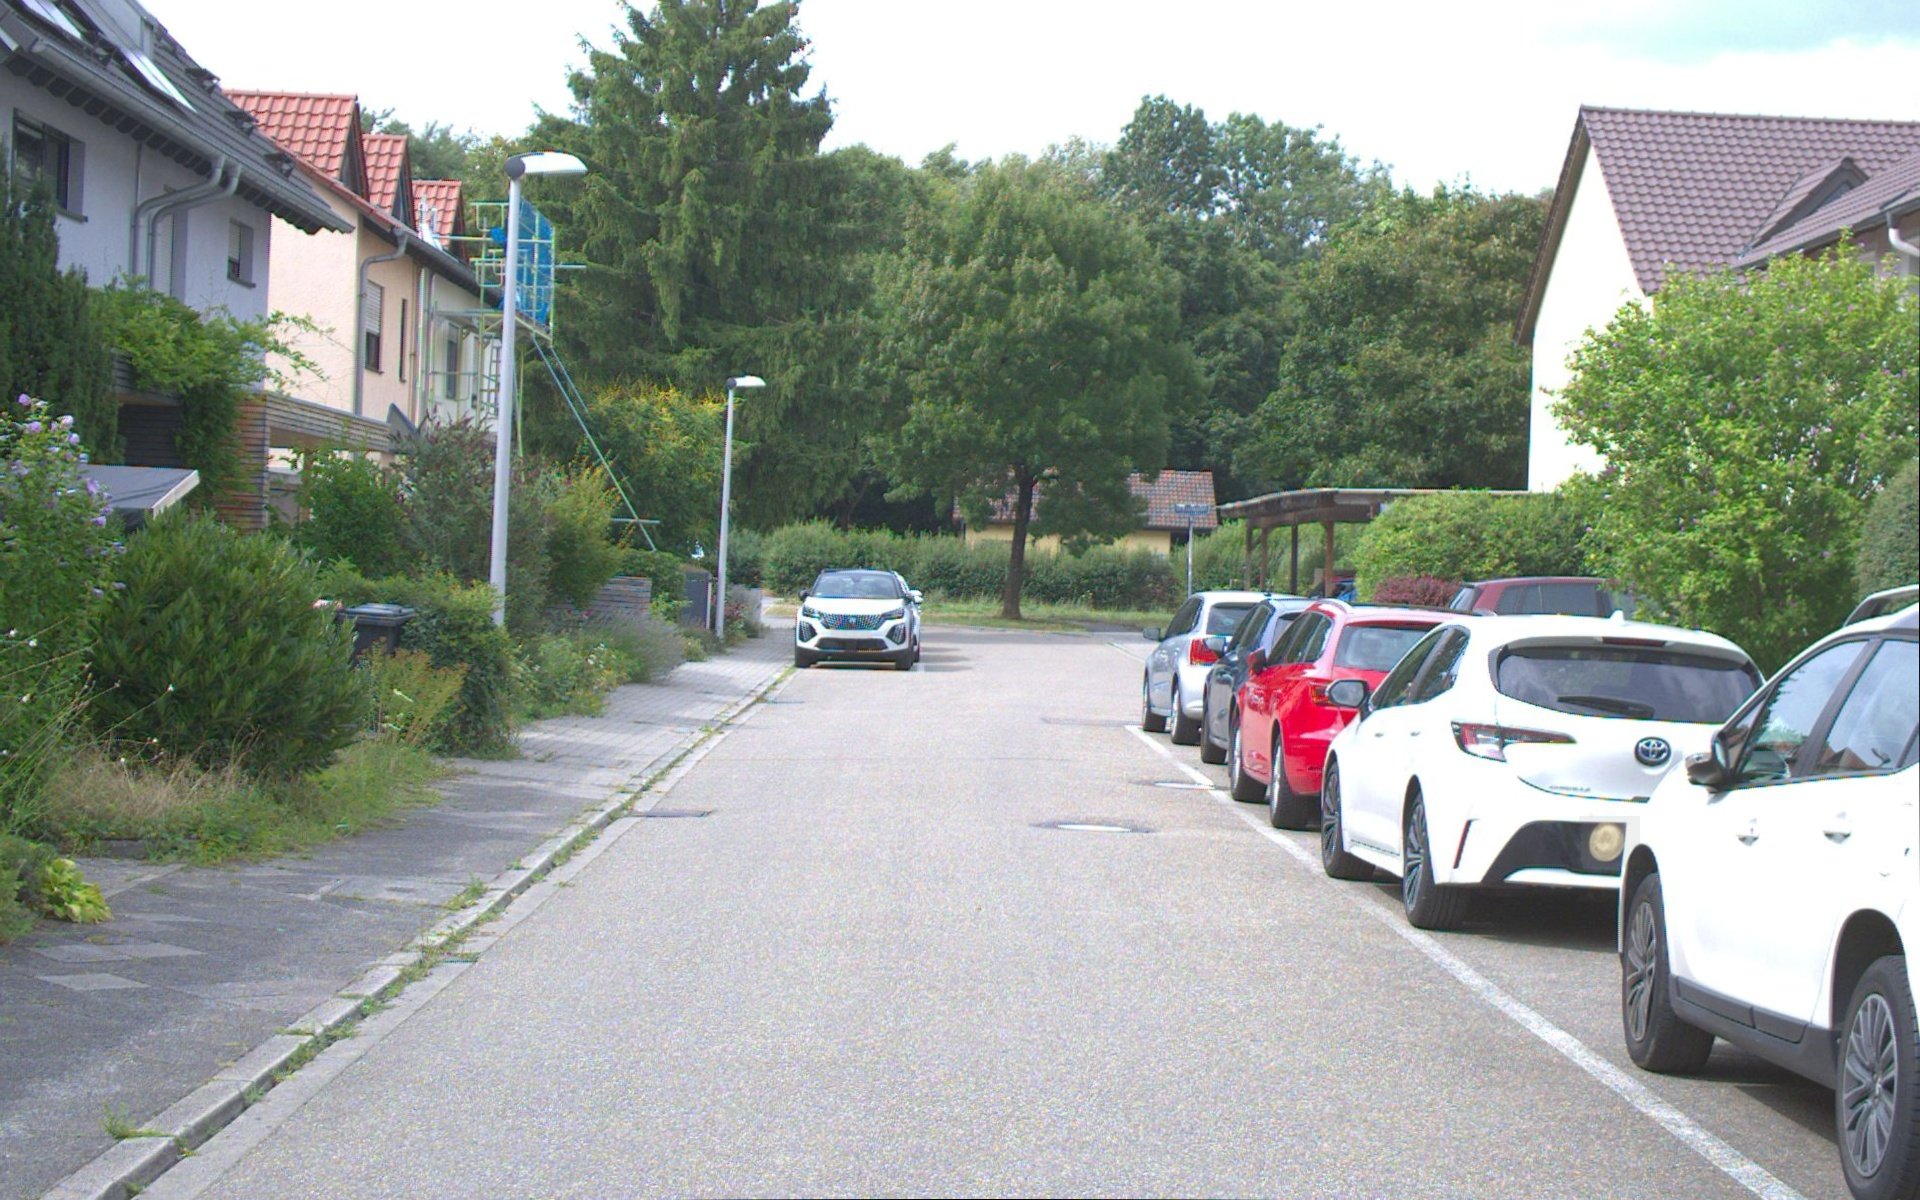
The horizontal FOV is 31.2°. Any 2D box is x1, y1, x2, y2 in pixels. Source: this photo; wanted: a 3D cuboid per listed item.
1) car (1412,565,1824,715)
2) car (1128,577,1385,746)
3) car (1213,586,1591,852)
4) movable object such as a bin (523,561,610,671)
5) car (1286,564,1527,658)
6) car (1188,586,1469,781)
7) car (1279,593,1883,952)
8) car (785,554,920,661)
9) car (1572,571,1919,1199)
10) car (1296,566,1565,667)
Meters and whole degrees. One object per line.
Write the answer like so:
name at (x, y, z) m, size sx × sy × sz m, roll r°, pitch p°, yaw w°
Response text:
car at (7.398, 0.433, 38.971) m, size 4.270 × 1.555 × 1.935 m, roll 1°, pitch 1°, yaw 0°
car at (2.784, 0.542, 33.158) m, size 1.864 × 1.412 × 4.253 m, roll 2°, pitch 1°, yaw -3°
car at (2.800, 0.697, 22.826) m, size 1.773 × 1.431 × 4.826 m, roll 4°, pitch 1°, yaw 0°
movable object such as a bin at (-4.829, 0.189, 42.246) m, size 0.949 × 1.307 × 1.001 m, roll 1°, pitch 1°, yaw -1°
car at (7.944, 0.181, 61.340) m, size 3.956 × 1.535 × 1.839 m, roll 1°, pitch 1°, yaw -3°
car at (2.878, 0.613, 27.660) m, size 1.773 × 1.351 × 4.265 m, roll 2°, pitch 1°, yaw 0°
car at (2.837, 0.725, 16.810) m, size 1.838 × 1.408 × 4.637 m, roll 1°, pitch 1°, yaw -3°
car at (-1.638, 0.081, 54.059) m, size 1.934 × 1.551 × 4.634 m, roll 2°, pitch 1°, yaw 0°
car at (2.997, 0.753, 9.566) m, size 1.713 × 1.538 × 3.974 m, roll 4°, pitch 1°, yaw -1°
car at (7.682, 0.256, 56.418) m, size 4.045 × 1.517 × 1.951 m, roll 1°, pitch 1°, yaw -3°
